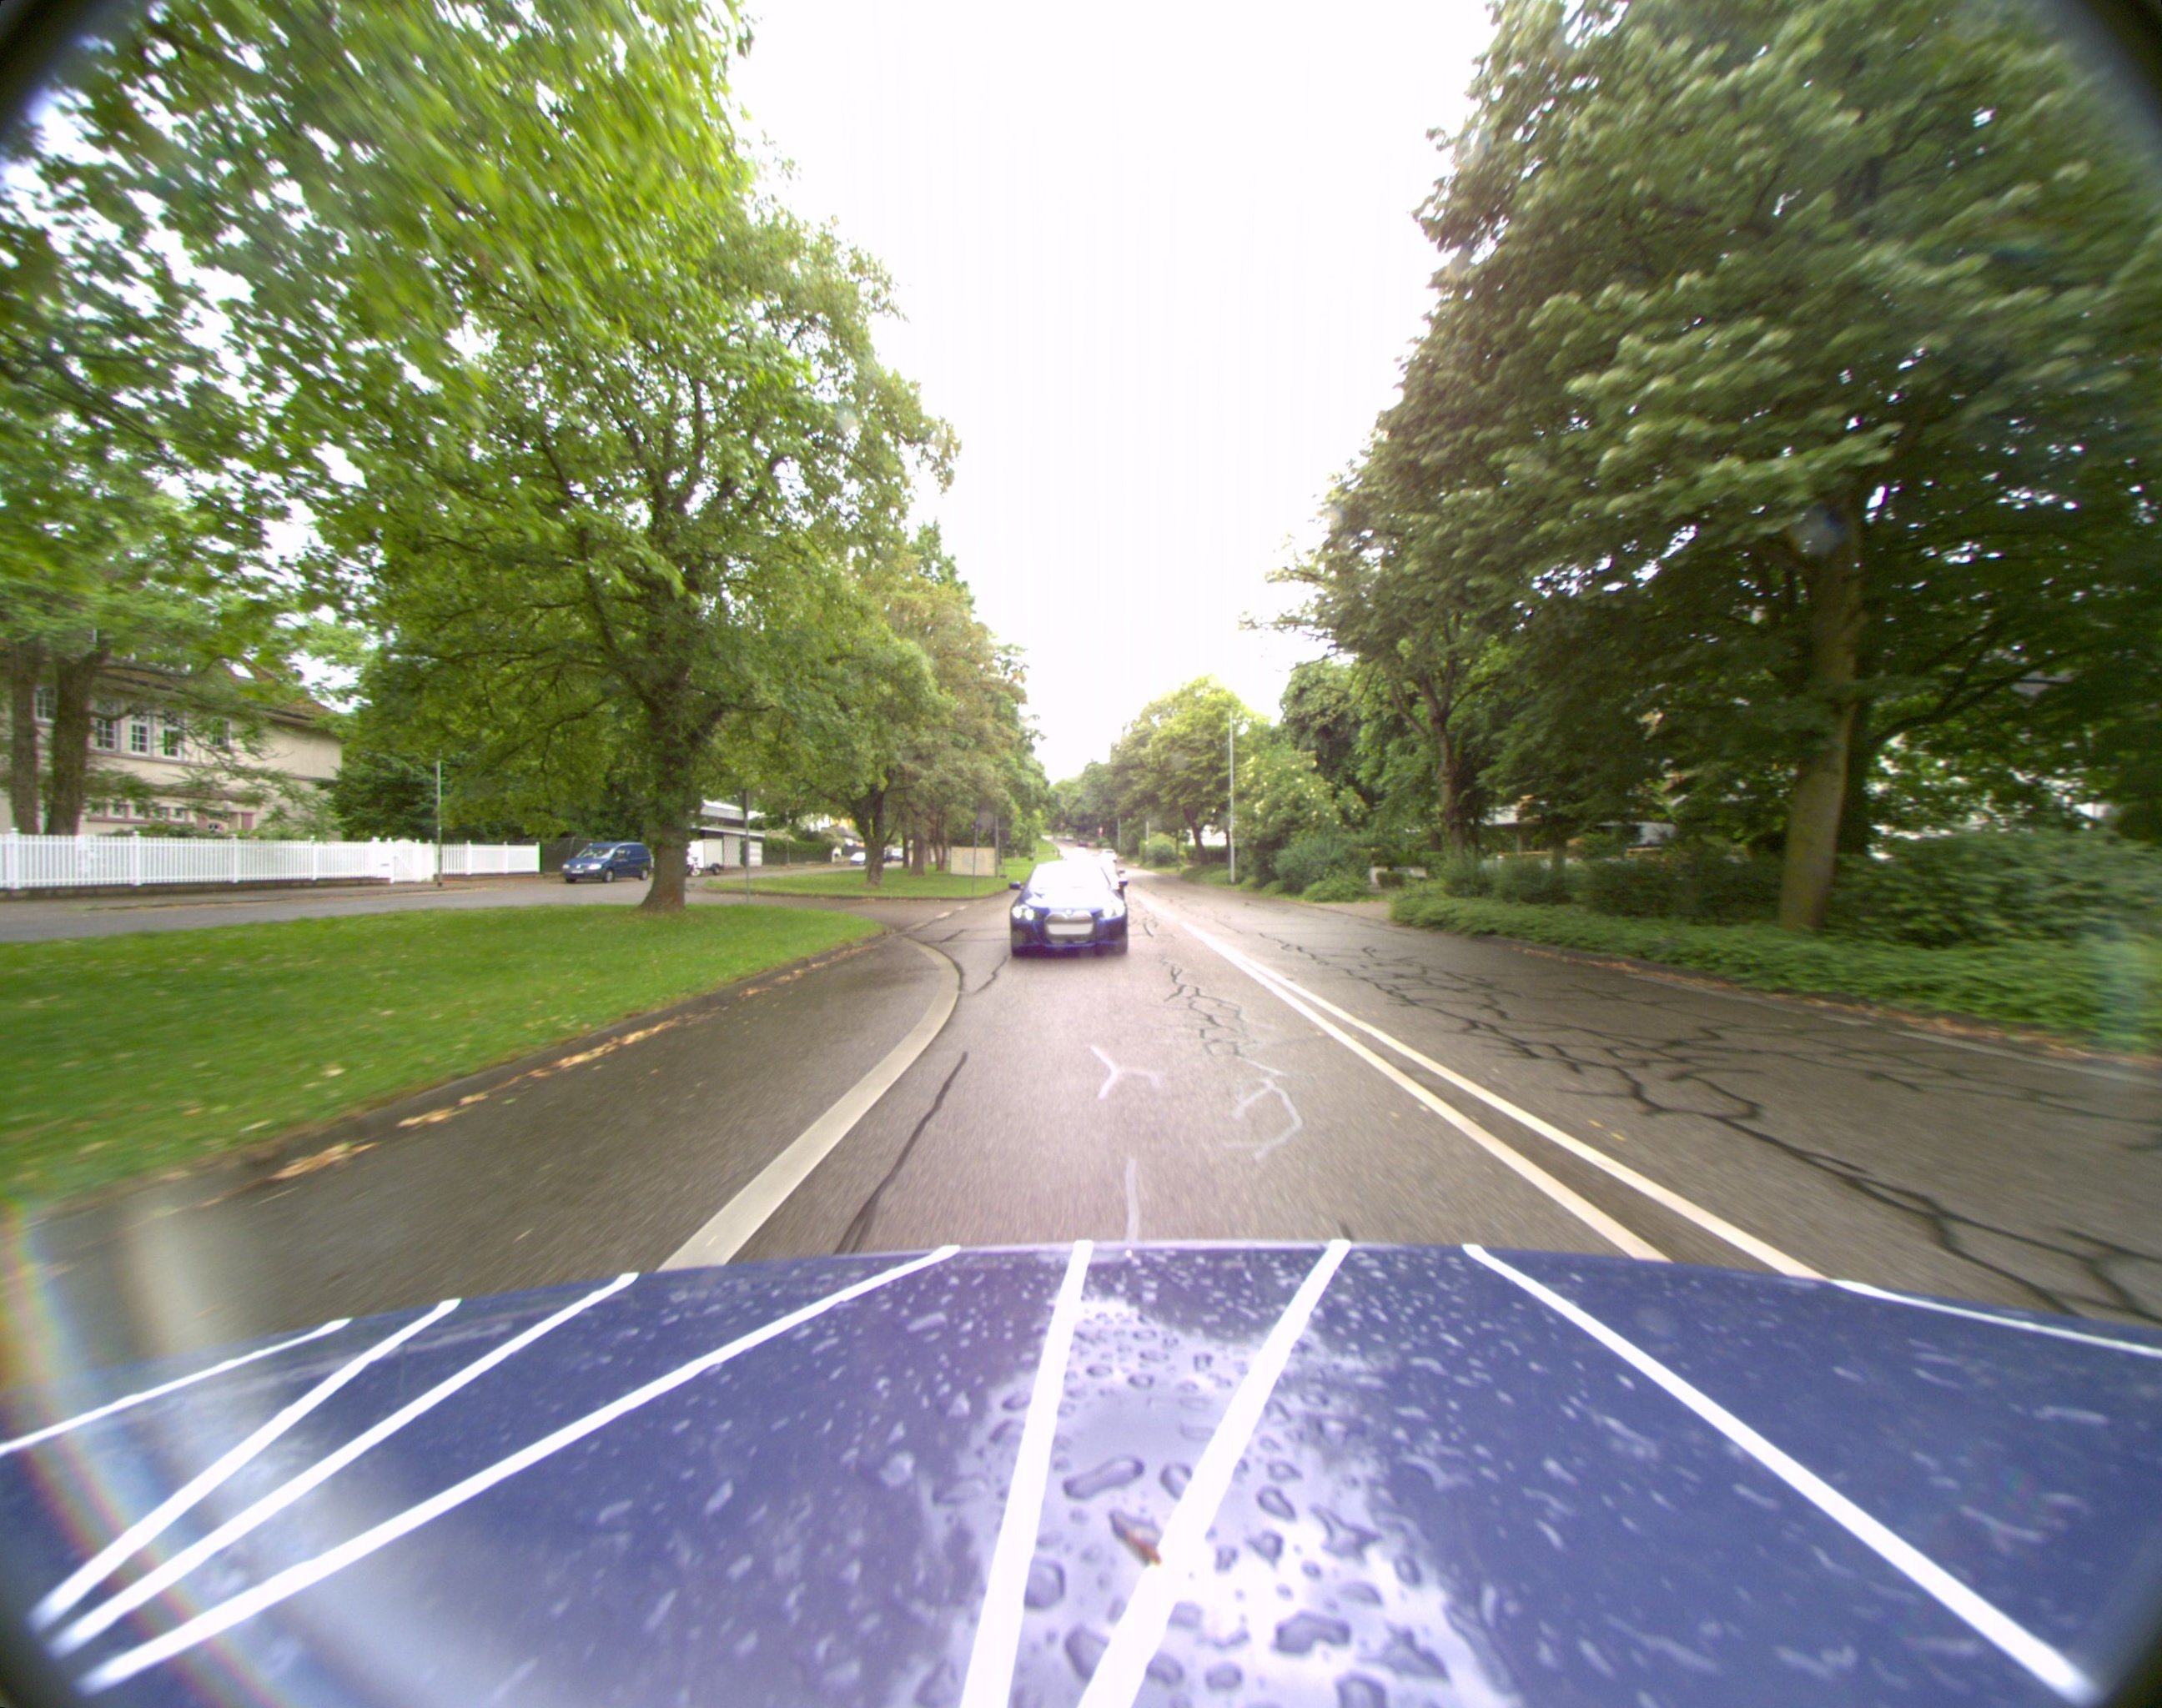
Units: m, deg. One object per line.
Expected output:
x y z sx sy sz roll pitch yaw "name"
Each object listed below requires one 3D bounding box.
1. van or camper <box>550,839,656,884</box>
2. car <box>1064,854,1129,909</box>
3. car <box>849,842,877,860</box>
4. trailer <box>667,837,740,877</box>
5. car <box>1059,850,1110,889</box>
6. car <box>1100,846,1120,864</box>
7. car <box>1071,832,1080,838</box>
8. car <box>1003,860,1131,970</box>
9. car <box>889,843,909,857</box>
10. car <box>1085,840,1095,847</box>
-21.309 0.288 34.177 1.999 1.798 4.773 -2 1 -5 "van or camper"
0.419 0.794 23.826 1.826 1.471 4.066 -2 1 -1 "car"
-24.565 -0.333 85.719 1.999 2.002 3.999 0 1 -1 "car"
-21.660 0.136 43.858 1.771 2.104 5.191 -2 1 -3 "trailer"
0.110 0.612 32.871 2.032 1.471 4.066 -2 1 -1 "car"
3.356 0.170 88.309 1.999 2.001 4.573 0 -1 -3 "car"
-1.229 -4.362 173.622 1.825 1.471 4.067 0 1 2 "car"
-0.224 0.913 13.202 1.826 1.471 4.066 -2 1 -1 "car"
-26.210 -0.551 109.610 1.999 2.001 4.000 0 -2 -2 "car"
1.765 -2.033 148.604 1.769 1.341 4.376 1 1 -2 "car"
